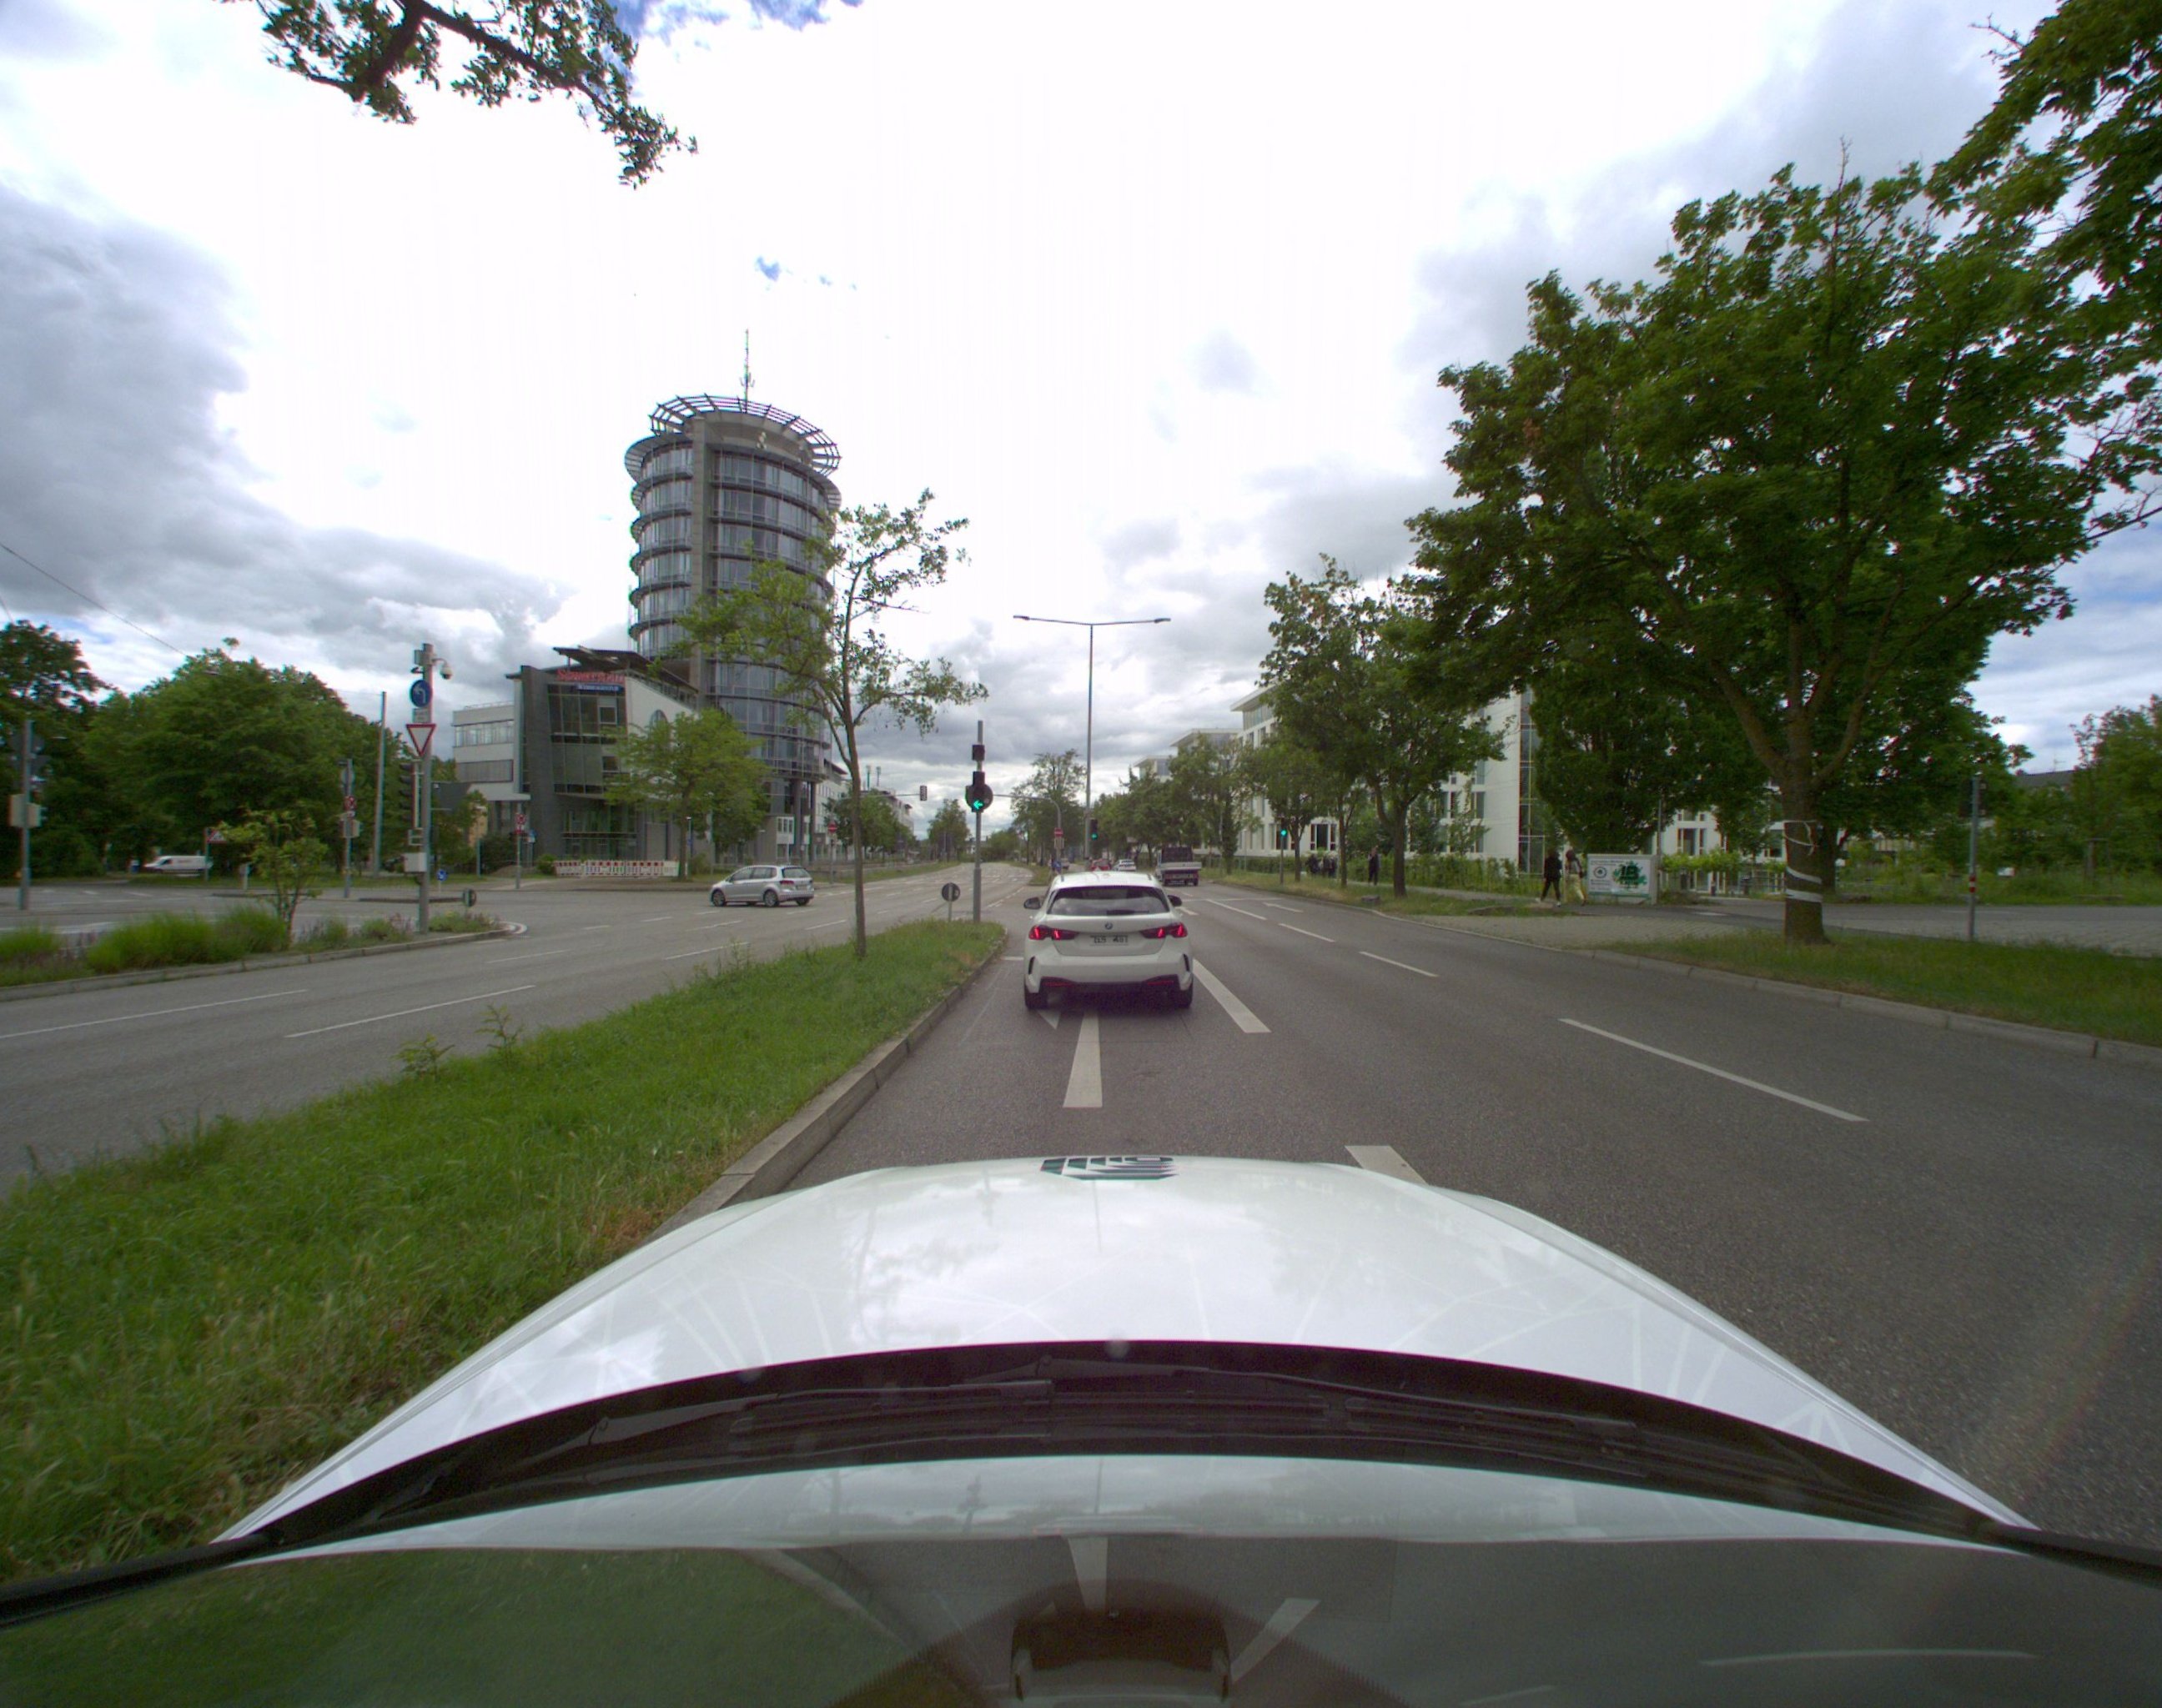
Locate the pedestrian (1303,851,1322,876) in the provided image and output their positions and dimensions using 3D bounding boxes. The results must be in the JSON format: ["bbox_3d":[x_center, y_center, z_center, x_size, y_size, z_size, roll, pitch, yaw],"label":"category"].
[{"bbox_3d":[13.612,0.544,47.921,0.786,1.448,1.112,0,-1,1],"label":"pedestrian"}]

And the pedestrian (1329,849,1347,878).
[{"bbox_3d":[15.099,0.535,47.830,0.764,1.685,0.883,0,-1,1],"label":"pedestrian"}]

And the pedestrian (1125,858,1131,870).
[{"bbox_3d":[8.169,1.739,140.985,0.763,2.014,0.751,0,-2,-13],"label":"pedestrian"}]

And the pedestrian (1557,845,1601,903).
[{"bbox_3d":[14.677,0.588,24.013,0.774,1.660,0.954,0,-1,8],"label":"pedestrian"}]

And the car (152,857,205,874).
[{"bbox_3d":[-128.194,1.656,115.762,1.978,2.339,4.570,-1,-1,17],"label":"car"}]

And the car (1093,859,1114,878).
[{"bbox_3d":[1.869,1.221,68.374,1.709,1.558,3.859,-1,-1,2],"label":"car"}]

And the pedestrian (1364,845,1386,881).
[{"bbox_3d":[13.083,0.395,36.268,0.739,1.574,0.674,0,-1,1],"label":"pedestrian"}]

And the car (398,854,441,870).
[{"bbox_3d":[-37.108,0.430,45.681,0.766,0.876,1.729,-1,-1,39],"label":"car"}]

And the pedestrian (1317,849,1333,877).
[{"bbox_3d":[14.346,0.539,47.858,0.697,1.596,0.883,0,-1,1],"label":"pedestrian"}]

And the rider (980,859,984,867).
[{"bbox_3d":[-23.055,2.134,189.326,0.845,1.772,0.806,0,-1,-6],"label":"rider"}]

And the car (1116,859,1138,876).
[{"bbox_3d":[4.166,1.233,74.522,1.710,1.556,4.087,0,-1,-1],"label":"car"}]

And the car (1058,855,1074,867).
[{"bbox_3d":[-2.121,0.995,113.080,1.853,1.596,4.302,-1,-1,-7],"label":"car"}]

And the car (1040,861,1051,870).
[{"bbox_3d":[-6.610,2.132,150.965,1.889,1.596,4.305,0,-1,-6],"label":"car"}]

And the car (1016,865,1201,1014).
[{"bbox_3d":[0.348,0.868,10.006,1.815,1.438,4.002,0,-1,2],"label":"car"}]

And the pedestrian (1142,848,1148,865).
[{"bbox_3d":[9.887,0.431,125.835,0.828,2.627,0.646,0,-1,2],"label":"pedestrian"}]

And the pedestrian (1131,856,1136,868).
[{"bbox_3d":[9.108,1.352,140.822,0.763,2.014,0.751,0,-2,-13],"label":"pedestrian"}]

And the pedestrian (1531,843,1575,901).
[{"bbox_3d":[13.897,0.520,23.997,0.791,1.660,1.061,0,-1,8],"label":"pedestrian"}]

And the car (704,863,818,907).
[{"bbox_3d":[-12.087,1.149,30.771,3.952,1.569,1.563,0,-1,21],"label":"car"}]

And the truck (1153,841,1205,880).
[{"bbox_3d":[5.761,0.409,48.646,2.205,2.203,5.839,0,-1,-2],"label":"truck"}]
